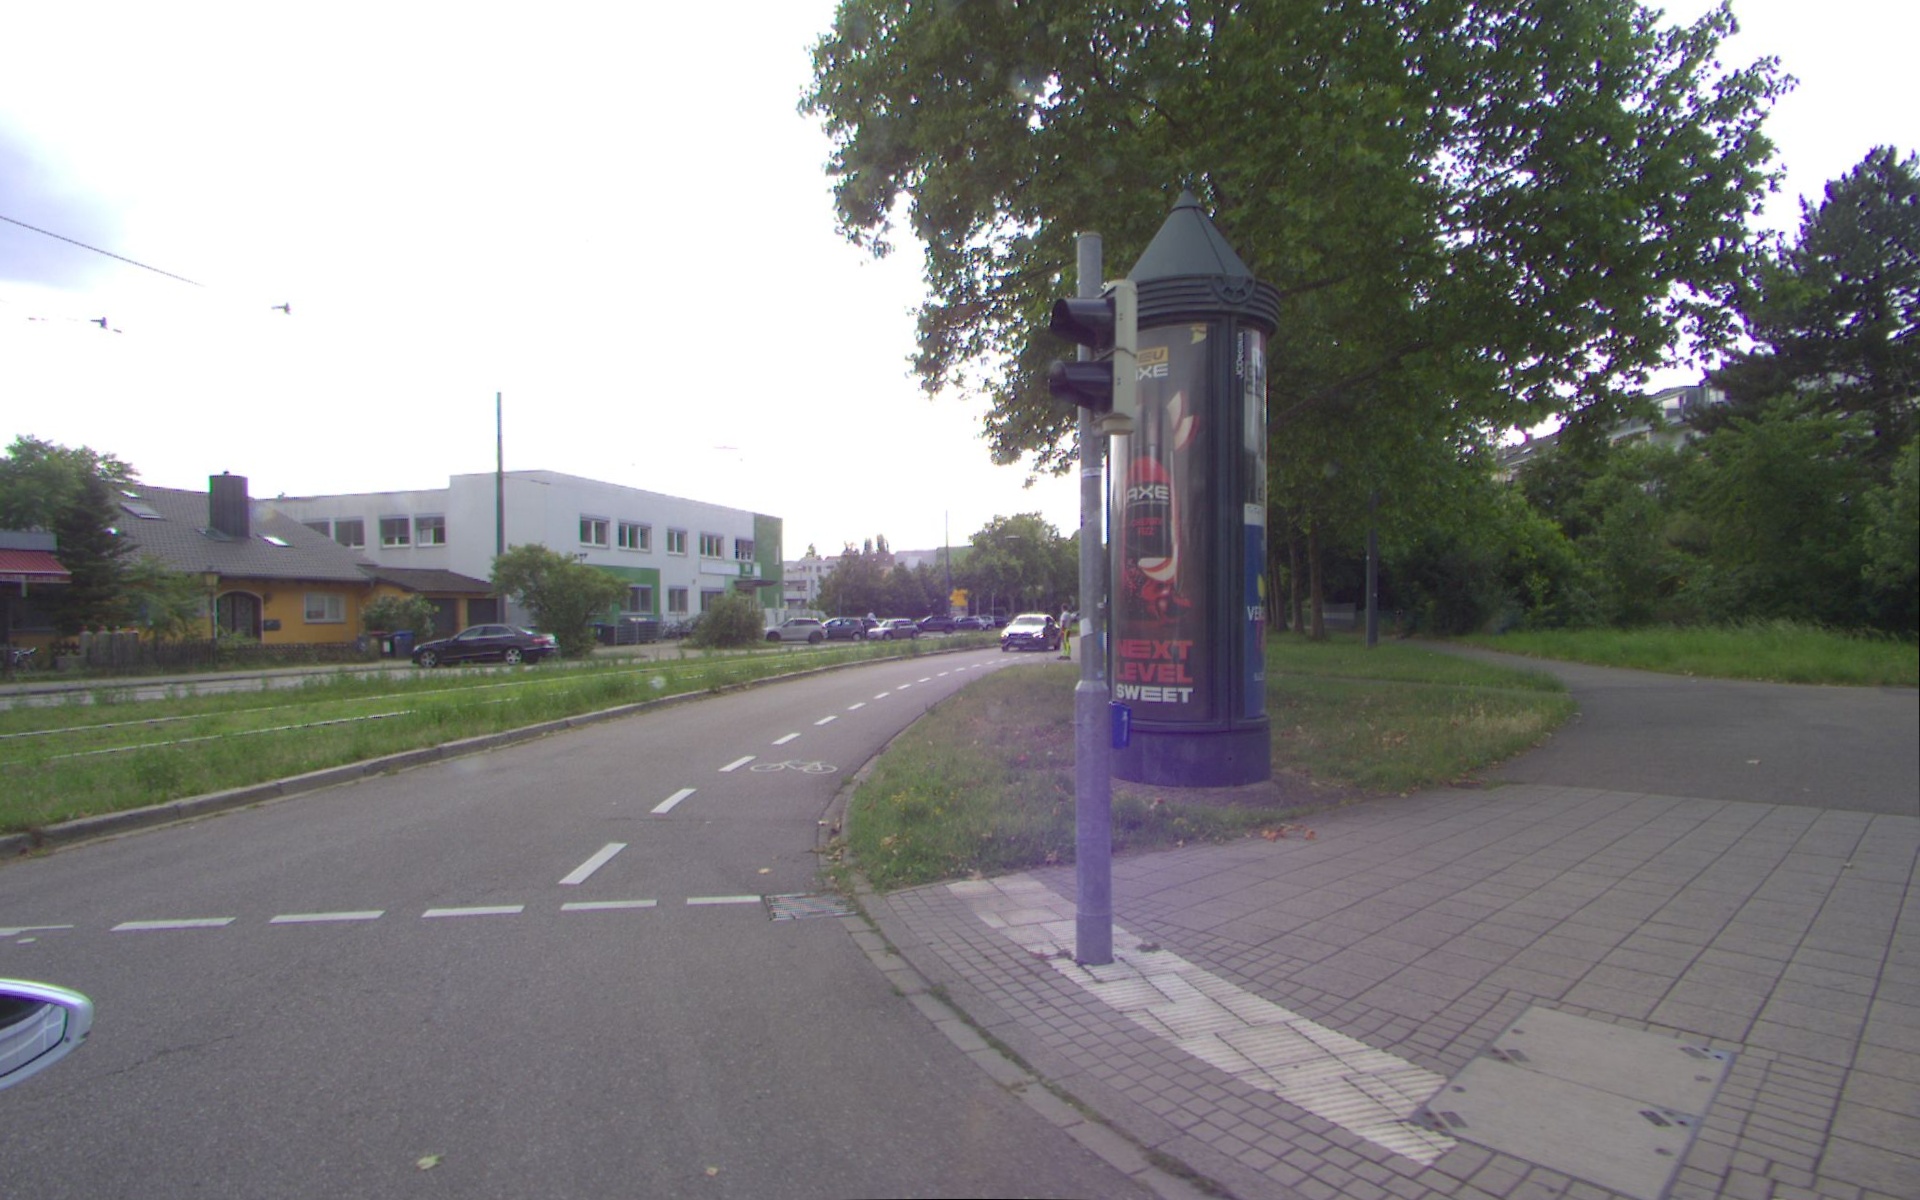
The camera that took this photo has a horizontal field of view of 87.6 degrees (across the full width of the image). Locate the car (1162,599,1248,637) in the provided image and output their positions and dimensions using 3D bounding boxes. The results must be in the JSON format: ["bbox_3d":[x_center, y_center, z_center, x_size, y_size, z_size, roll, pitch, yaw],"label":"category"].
[{"bbox_3d":[13.489,0.994,55.137,4.474,2.040,1.998,-1,-1,17],"label":"car"}]

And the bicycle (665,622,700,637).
[{"bbox_3d":[-17.872,1.897,64.492,2.122,0.983,0.729,-1,0,20],"label":"bicycle"}]

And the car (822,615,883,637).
[{"bbox_3d":[-7.453,1.785,69.429,4.093,1.523,1.859,0,0,-12],"label":"car"}]

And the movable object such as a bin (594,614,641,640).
[{"bbox_3d":[-18.317,1.430,53.630,1.352,1.344,2.113,-1,0,20],"label":"movable object such as a bin"}]

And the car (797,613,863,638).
[{"bbox_3d":[-8.659,1.690,66.556,4.235,1.650,1.900,0,0,-12],"label":"car"}]

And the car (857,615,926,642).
[{"bbox_3d":[-4.381,1.822,64.700,4.273,1.650,1.884,1,-1,-44],"label":"car"}]

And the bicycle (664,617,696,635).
[{"bbox_3d":[-17.238,1.608,61.698,1.764,1.096,0.736,-1,0,14],"label":"bicycle"}]

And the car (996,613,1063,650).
[{"bbox_3d":[2.884,1.245,40.517,1.807,1.411,4.601,0,-1,16],"label":"car"}]

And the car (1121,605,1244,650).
[{"bbox_3d":[8.514,1.068,38.345,4.459,1.665,1.999,-1,-2,14],"label":"car"}]

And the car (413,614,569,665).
[{"bbox_3d":[-16.435,1.362,35.286,4.491,1.601,2.000,-1,0,-4],"label":"car"}]

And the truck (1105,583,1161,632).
[{"bbox_3d":[12.833,0.573,73.647,3.136,3.361,7.512,-1,-1,17],"label":"truck"}]

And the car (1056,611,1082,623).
[{"bbox_3d":[18.644,2.897,171.080,3.929,1.862,1.819,2,0,-16],"label":"car"}]

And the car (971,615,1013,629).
[{"bbox_3d":[3.337,2.290,105.461,4.232,1.381,1.901,0,0,-6],"label":"car"}]

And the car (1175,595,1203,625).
[{"bbox_3d":[26.838,1.185,117.136,2.920,3.373,7.453,1,-1,14],"label":"car"}]

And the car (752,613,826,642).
[{"bbox_3d":[-10.365,1.657,60.738,4.239,1.650,1.898,0,0,-17],"label":"car"}]

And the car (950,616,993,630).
[{"bbox_3d":[1.173,2.330,101.984,4.232,1.381,1.901,0,0,-6],"label":"car"}]

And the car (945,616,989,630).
[{"bbox_3d":[0.685,2.279,99.433,4.232,1.381,1.901,0,0,-6],"label":"car"}]

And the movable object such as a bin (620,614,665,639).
[{"bbox_3d":[-17.658,1.479,55.715,1.352,1.344,2.127,-1,0,20],"label":"movable object such as a bin"}]

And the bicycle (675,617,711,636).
[{"bbox_3d":[-17.406,1.721,65.303,2.312,1.181,0.758,-1,0,22],"label":"bicycle"}]

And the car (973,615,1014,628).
[{"bbox_3d":[3.678,2.369,110.142,4.232,1.381,1.901,0,0,-6],"label":"car"}]

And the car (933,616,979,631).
[{"bbox_3d":[-0.435,2.204,96.304,4.232,1.381,1.901,0,0,-6],"label":"car"}]

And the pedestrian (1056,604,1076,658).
[{"bbox_3d":[3.365,0.985,31.806,0.576,1.706,0.494,0,0,15],"label":"pedestrian"}]

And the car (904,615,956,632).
[{"bbox_3d":[-2.588,1.993,86.231,4.233,1.381,1.901,0,0,-8],"label":"car"}]

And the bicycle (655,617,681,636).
[{"bbox_3d":[-18.357,1.692,63.037,1.598,1.181,0.702,-1,0,33],"label":"bicycle"}]
